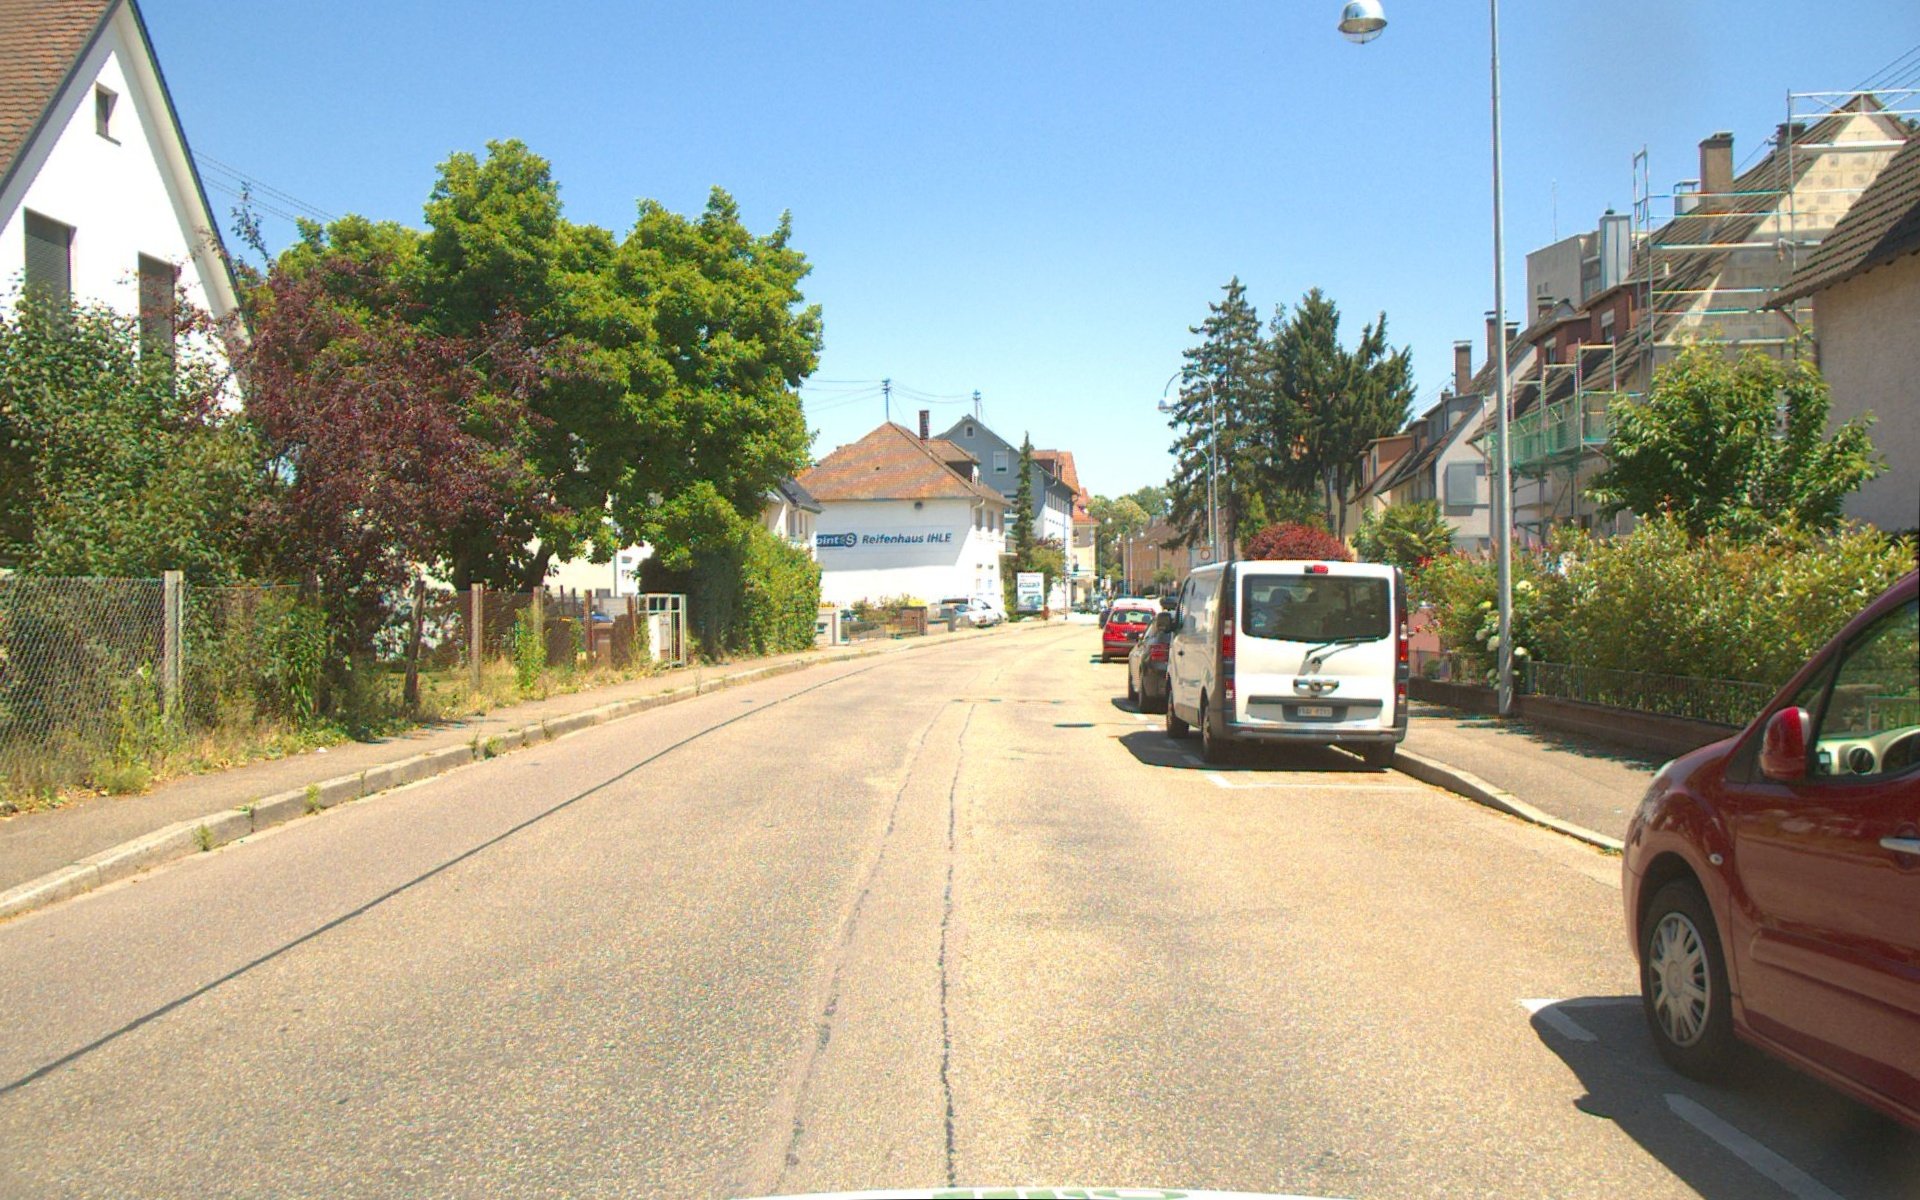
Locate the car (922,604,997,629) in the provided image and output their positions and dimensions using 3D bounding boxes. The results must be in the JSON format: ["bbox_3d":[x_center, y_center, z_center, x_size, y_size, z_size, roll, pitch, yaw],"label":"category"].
[{"bbox_3d":[-0.042,0.941,94.497,4.069,1.367,1.899,0,0,43],"label":"car"}]

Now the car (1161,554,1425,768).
[{"bbox_3d":[3.340,0.567,17.514,1.864,1.958,4.718,0,0,0],"label":"car"}]

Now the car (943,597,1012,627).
[{"bbox_3d":[1.073,0.720,99.869,4.041,1.805,1.829,0,0,4],"label":"car"}]

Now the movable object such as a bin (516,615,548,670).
[{"bbox_3d":[-8.134,0.797,31.440,0.457,1.027,0.506,0,0,1],"label":"movable object such as a bin"}]

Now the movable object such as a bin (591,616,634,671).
[{"bbox_3d":[-6.474,0.799,30.817,0.693,1.014,0.474,0,-1,-1],"label":"movable object such as a bin"}]

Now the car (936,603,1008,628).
[{"bbox_3d":[0.721,0.909,97.303,4.040,1.419,1.830,0,0,8],"label":"car"}]

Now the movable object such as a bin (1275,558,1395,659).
[{"bbox_3d":[10.640,0.242,47.085,3.079,2.795,1.708,0,0,3],"label":"movable object such as a bin"}]

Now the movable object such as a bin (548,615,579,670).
[{"bbox_3d":[-7.525,0.803,31.401,0.457,1.027,0.506,0,0,1],"label":"movable object such as a bin"}]

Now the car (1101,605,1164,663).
[{"bbox_3d":[4.690,0.902,45.107,1.628,1.480,4.003,1,0,5],"label":"car"}]

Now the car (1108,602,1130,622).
[{"bbox_3d":[13.473,1.013,140.185,1.720,1.685,4.003,0,0,8],"label":"car"}]

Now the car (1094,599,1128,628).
[{"bbox_3d":[8.515,0.734,93.059,1.756,1.536,4.003,1,0,7],"label":"car"}]

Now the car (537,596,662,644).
[{"bbox_3d":[-12.340,0.676,56.811,3.908,1.537,1.799,1,0,-4],"label":"car"}]

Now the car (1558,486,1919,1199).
[{"bbox_3d":[3.266,0.627,4.113,1.864,1.758,4.390,2,-1,-1],"label":"car"}]

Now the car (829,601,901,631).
[{"bbox_3d":[-5.159,0.854,89.469,3.933,1.536,1.787,0,1,45],"label":"car"}]

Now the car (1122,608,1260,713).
[{"bbox_3d":[3.371,0.839,24.720,1.622,1.422,4.001,0,0,2],"label":"car"}]

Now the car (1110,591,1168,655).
[{"bbox_3d":[5.438,0.708,50.121,1.628,1.786,4.003,2,-1,7],"label":"car"}]

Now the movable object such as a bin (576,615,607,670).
[{"bbox_3d":[-6.988,0.809,31.367,0.457,1.027,0.506,0,0,1],"label":"movable object such as a bin"}]

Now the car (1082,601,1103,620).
[{"bbox_3d":[11.971,0.983,149.362,1.720,1.685,4.003,0,0,8],"label":"car"}]
